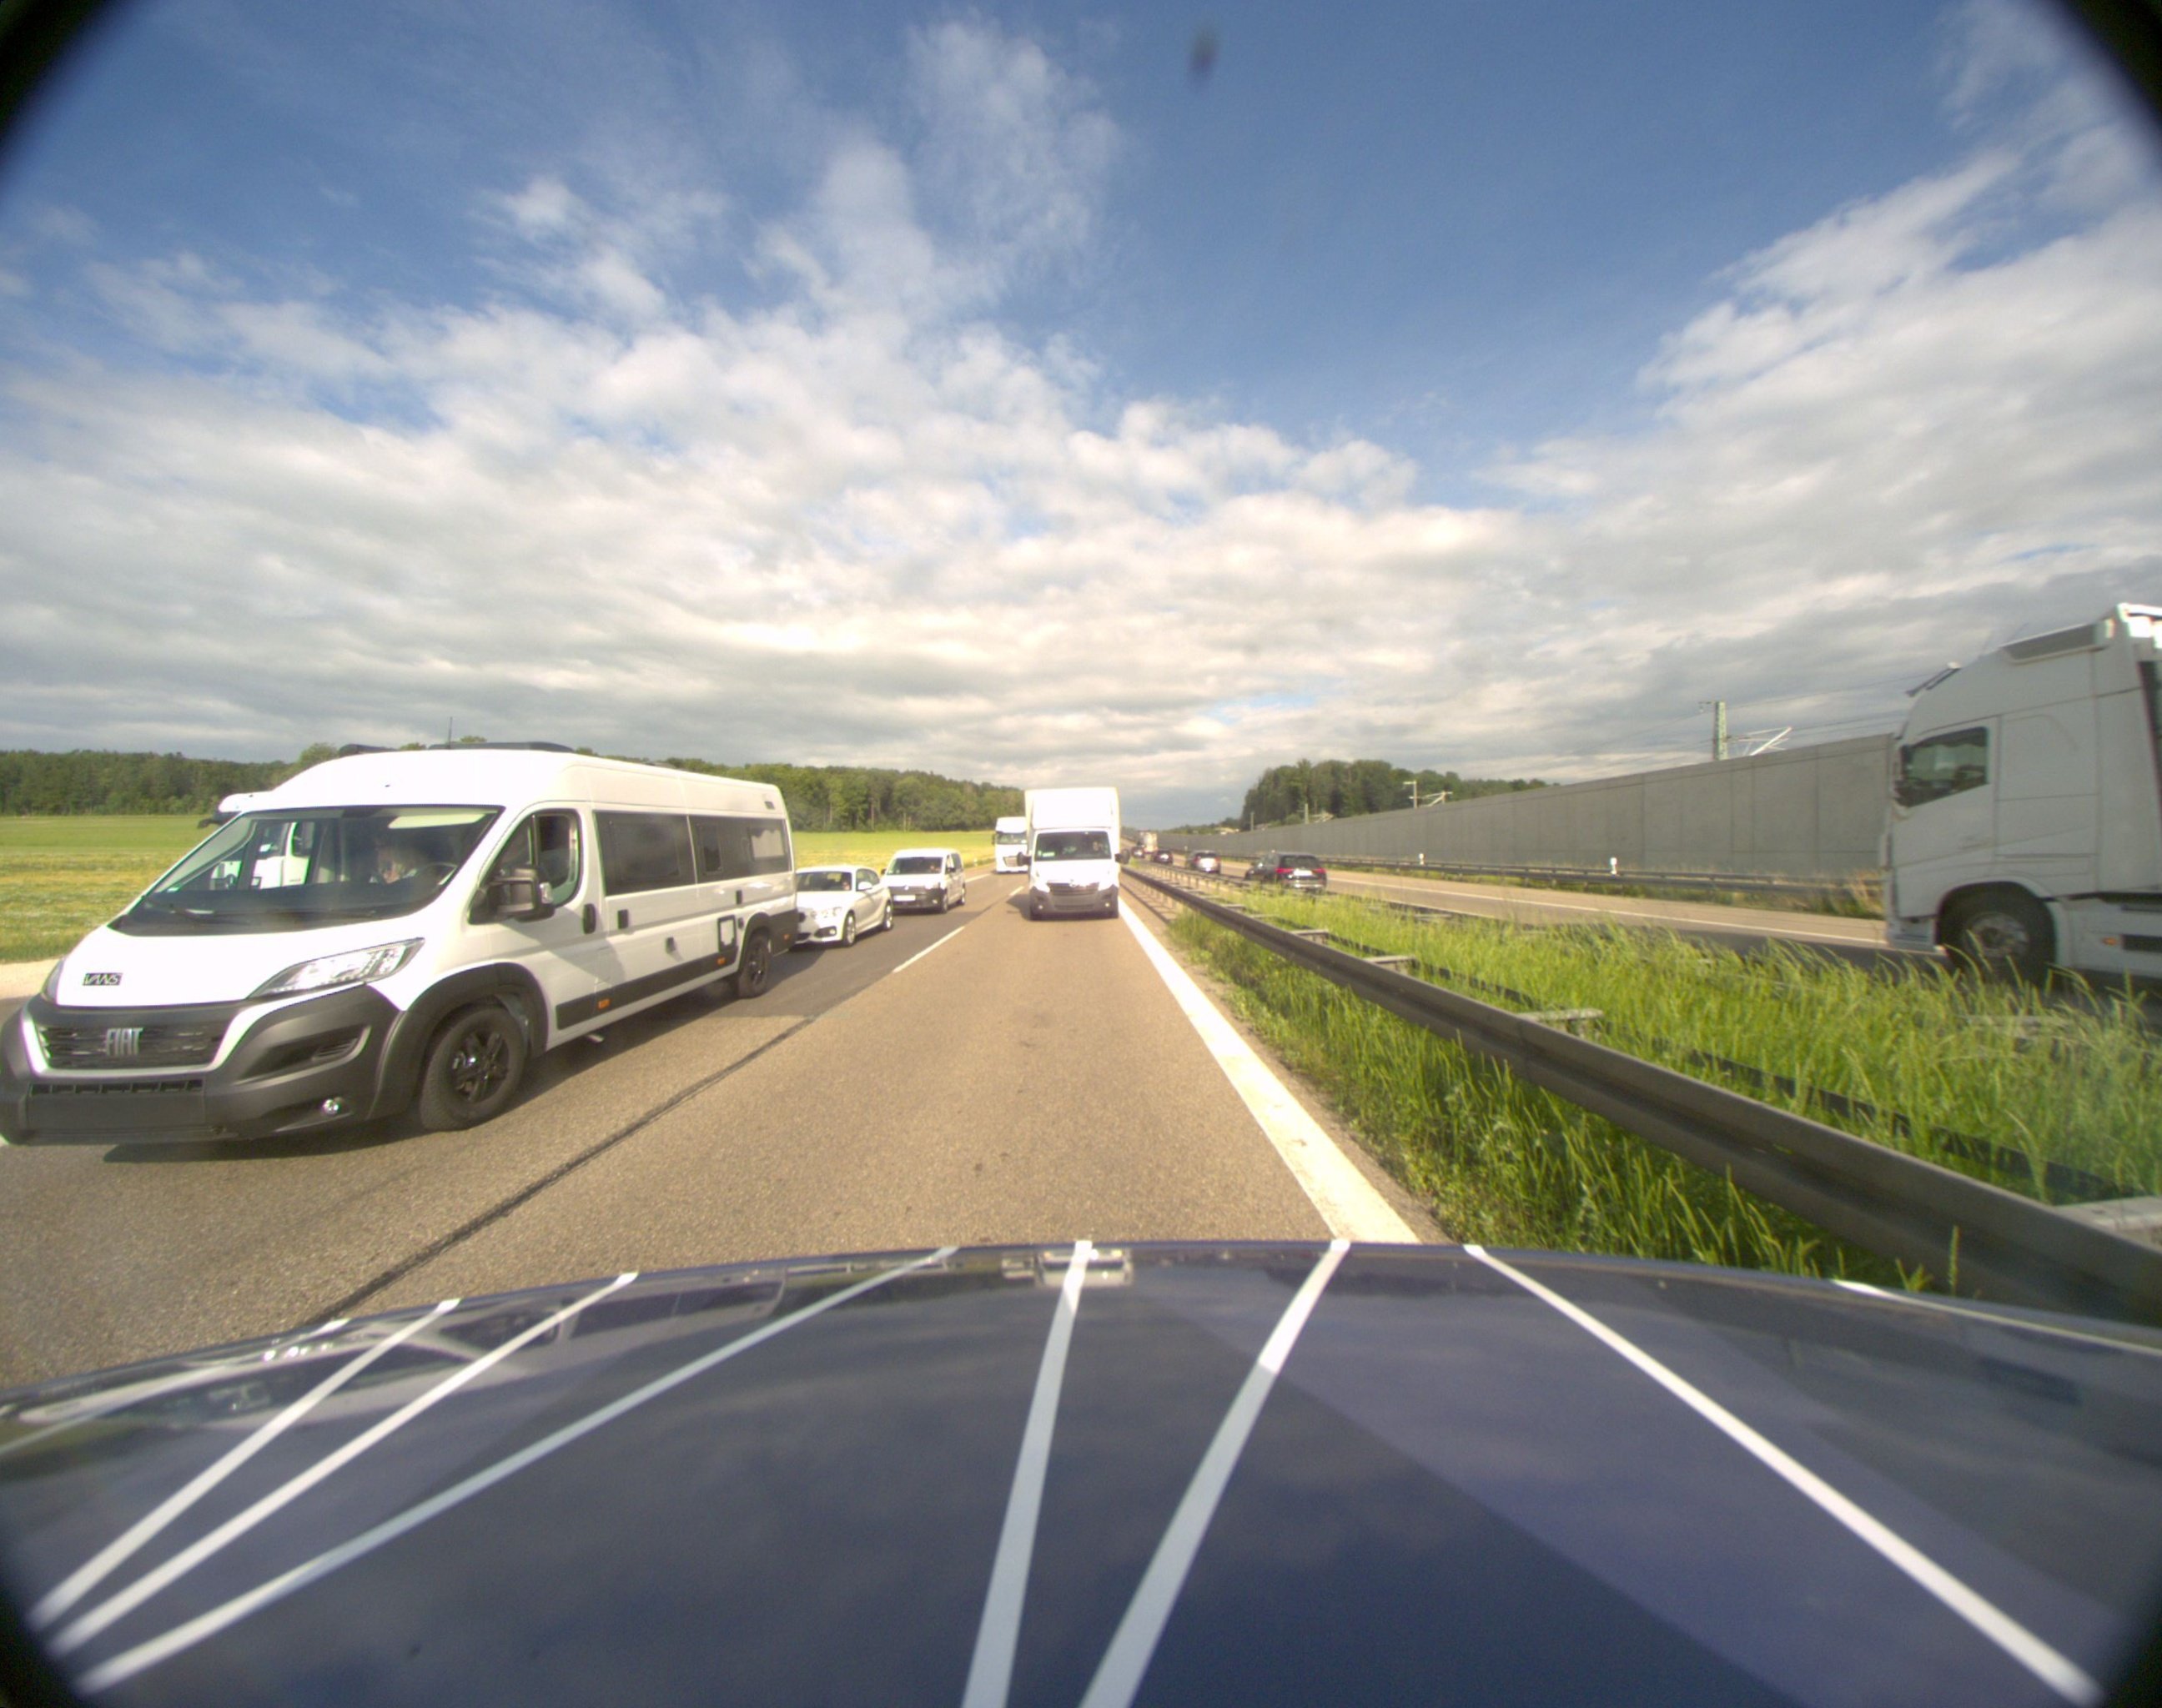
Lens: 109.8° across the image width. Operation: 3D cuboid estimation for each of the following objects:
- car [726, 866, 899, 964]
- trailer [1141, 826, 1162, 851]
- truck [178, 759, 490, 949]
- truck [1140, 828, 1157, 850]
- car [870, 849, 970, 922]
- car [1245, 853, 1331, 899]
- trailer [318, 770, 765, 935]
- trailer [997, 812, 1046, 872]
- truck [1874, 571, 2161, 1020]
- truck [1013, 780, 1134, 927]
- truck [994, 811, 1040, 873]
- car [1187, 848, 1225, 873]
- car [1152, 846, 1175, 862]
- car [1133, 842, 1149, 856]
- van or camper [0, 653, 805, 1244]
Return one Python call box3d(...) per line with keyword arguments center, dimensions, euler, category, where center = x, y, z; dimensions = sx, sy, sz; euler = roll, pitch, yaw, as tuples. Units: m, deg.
box3d(center=(-4.809, 1.012, 14.313), dimensions=(1.708, 1.424, 4.231), euler=(-2, 1, 0), category="car")
box3d(center=(11.759, -2.531, 127.458), dimensions=(2.595, 3.879, 10.862), euler=(0, 1, 0), category="trailer")
box3d(center=(-18.532, 0.003, 19.269), dimensions=(2.717, 4.149, 4.765), euler=(-2, 1, 15), category="truck")
box3d(center=(11.753, -2.590, 132.826), dimensions=(2.589, 3.900, 5.721), euler=(0, 1, 0), category="truck")
box3d(center=(-4.384, 0.768, 21.449), dimensions=(1.729, 1.746, 4.702), euler=(-3, 1, 0), category="car")
box3d(center=(6.877, 0.663, 25.620), dimensions=(1.746, 1.350, 4.231), euler=(-1, 1, 0), category="car")
box3d(center=(-16.714, -0.112, 26.171), dimensions=(2.739, 4.136, 13.842), euler=(-2, 0, 15), category="trailer")
box3d(center=(-4.570, -1.029, 60.855), dimensions=(2.742, 4.137, 14.014), euler=(-2, 1, 0), category="trailer")
box3d(center=(11.211, -0.545, 6.612), dimensions=(2.386, 4.157, 5.931), euler=(-1, 1, 0), category="truck")
box3d(center=(-0.191, -0.071, 22.379), dimensions=(2.500, 3.082, 12.036), euler=(-2, 1, 0), category="truck")
box3d(center=(-4.524, -0.902, 54.935), dimensions=(2.736, 4.150, 5.765), euler=(-2, 1, 0), category="truck")
box3d(center=(7.709, 0.359, 47.324), dimensions=(1.773, 1.471, 3.828), euler=(-1, 1, 1), category="car")
box3d(center=(7.992, 0.000, 74.284), dimensions=(1.702, 1.490, 4.426), euler=(-1, 1, 0), category="car")
box3d(center=(7.785, -0.649, 99.342), dimensions=(1.785, 1.727, 4.101), euler=(-1, 1, 0), category="car")
box3d(center=(-4.704, 0.414, 6.614), dimensions=(2.221, 2.665, 6.331), euler=(-1, 1, 0), category="van or camper")
